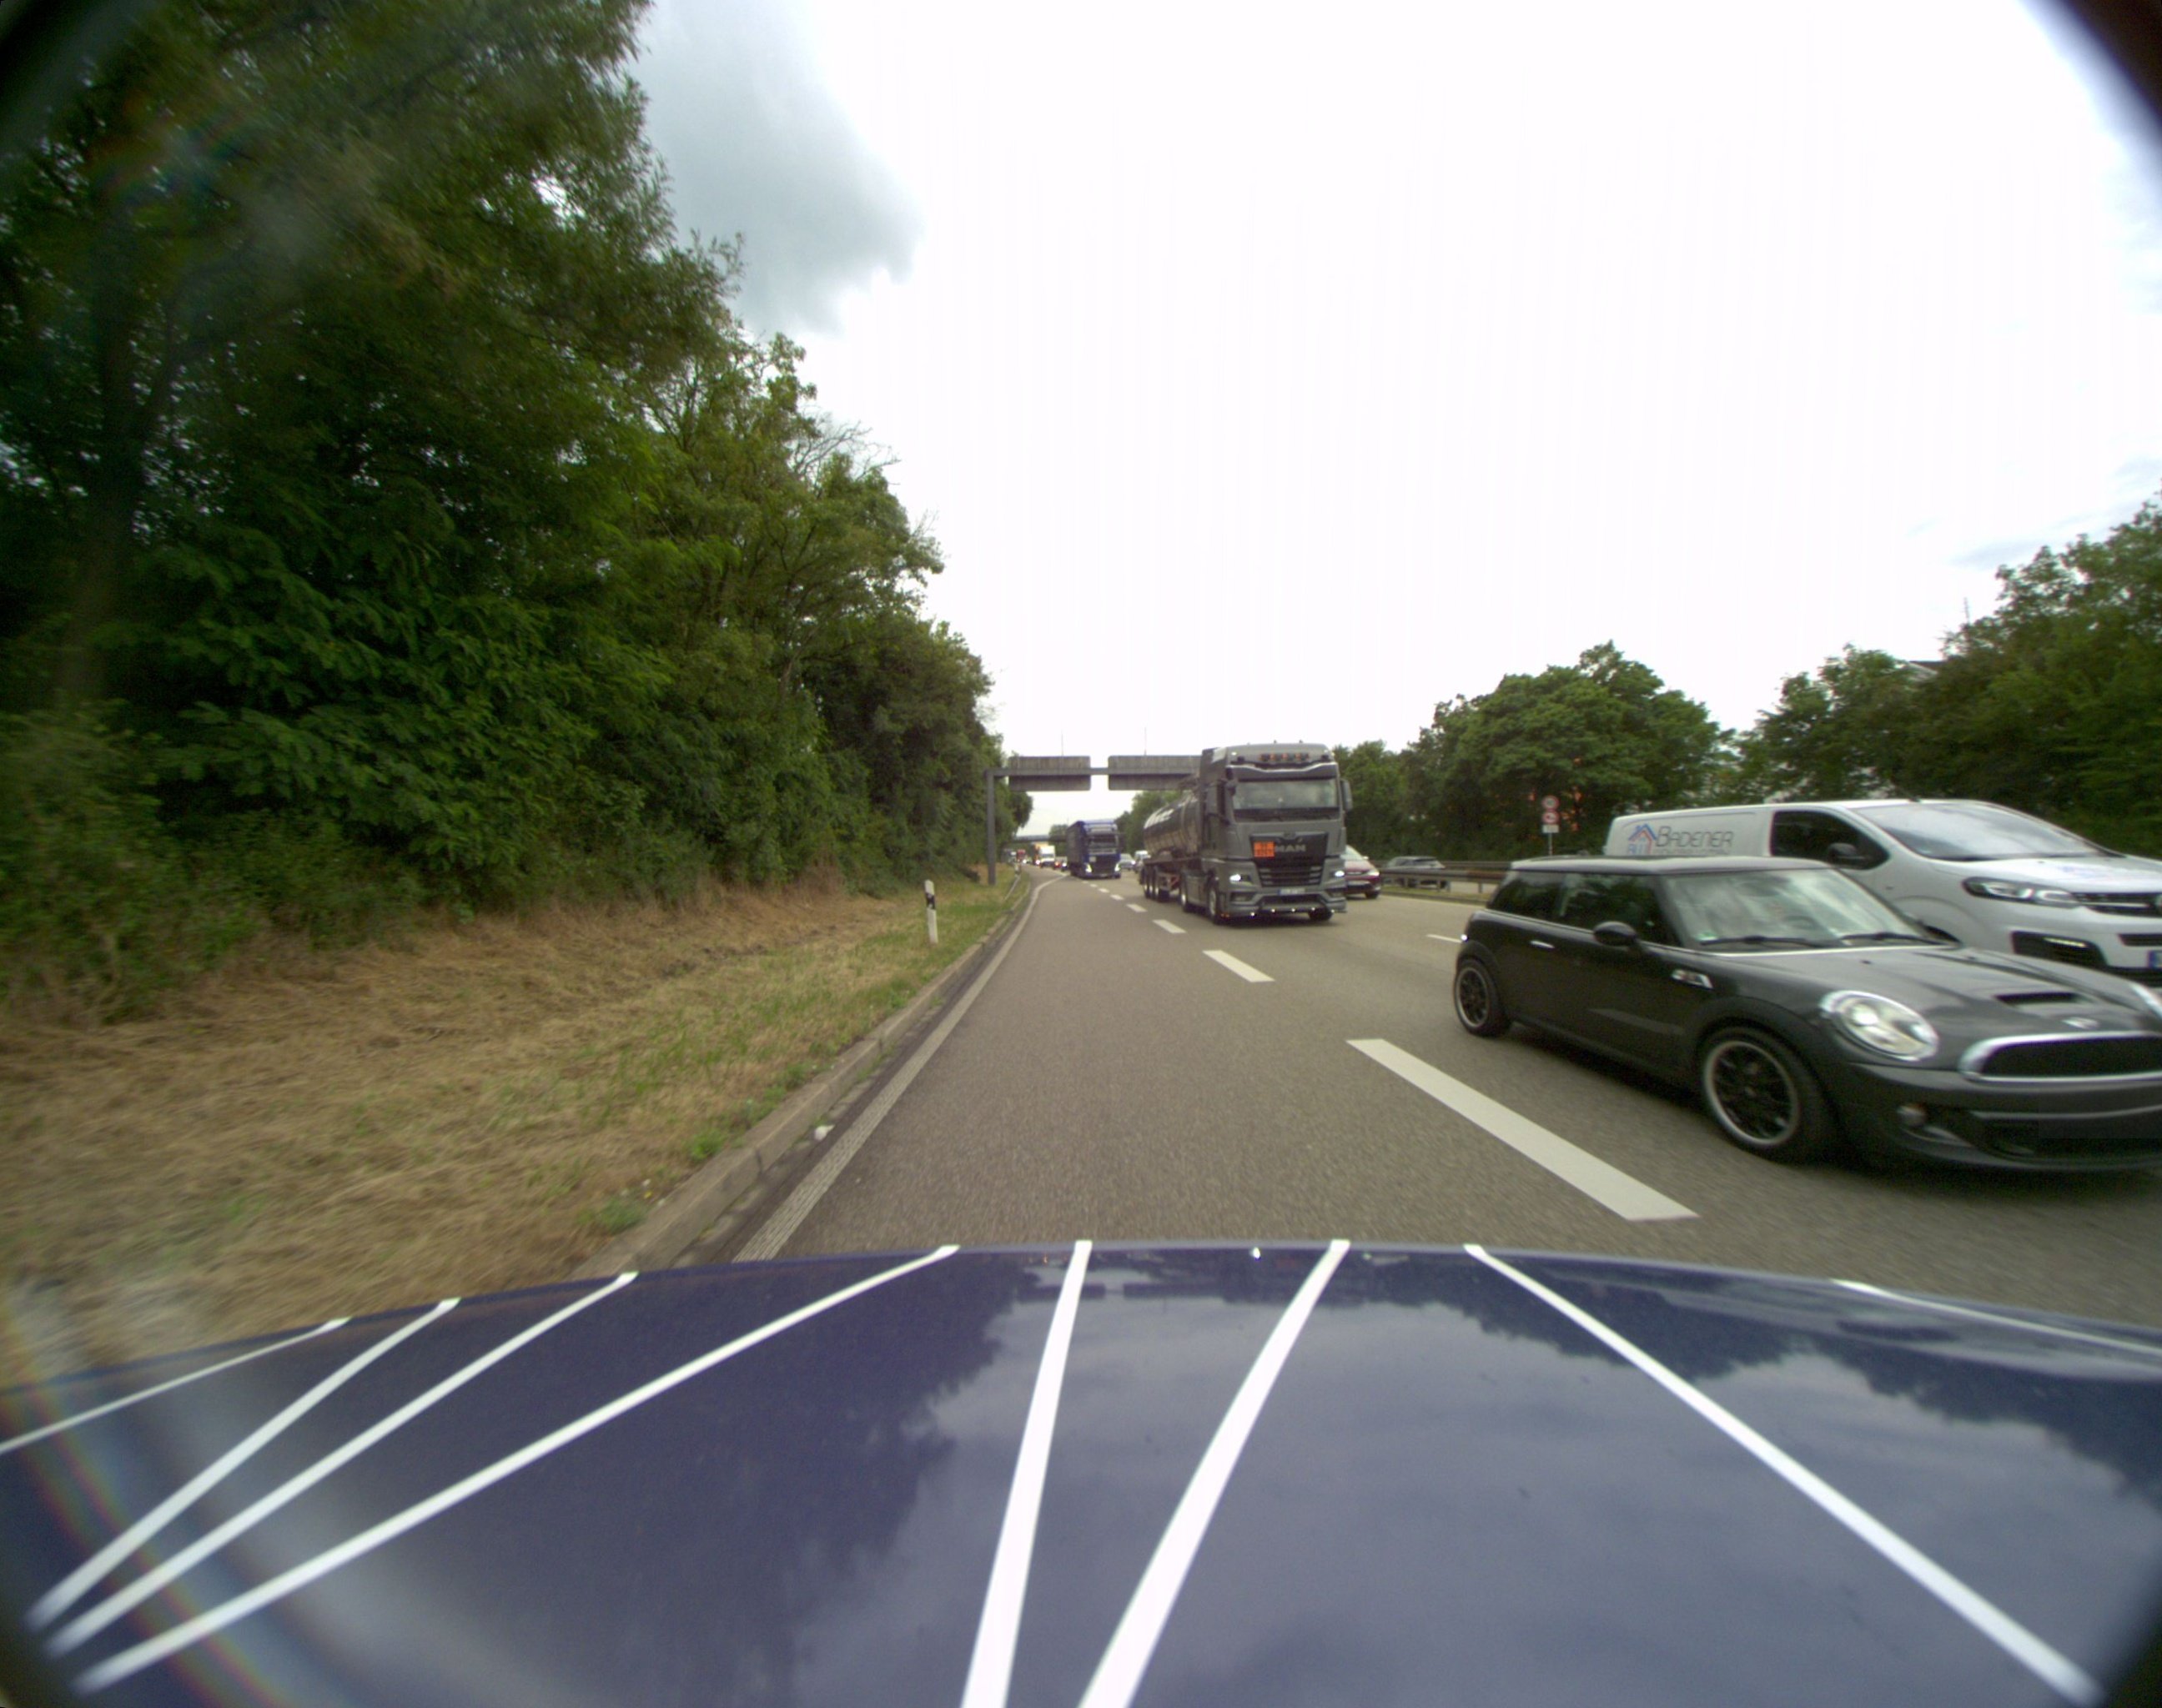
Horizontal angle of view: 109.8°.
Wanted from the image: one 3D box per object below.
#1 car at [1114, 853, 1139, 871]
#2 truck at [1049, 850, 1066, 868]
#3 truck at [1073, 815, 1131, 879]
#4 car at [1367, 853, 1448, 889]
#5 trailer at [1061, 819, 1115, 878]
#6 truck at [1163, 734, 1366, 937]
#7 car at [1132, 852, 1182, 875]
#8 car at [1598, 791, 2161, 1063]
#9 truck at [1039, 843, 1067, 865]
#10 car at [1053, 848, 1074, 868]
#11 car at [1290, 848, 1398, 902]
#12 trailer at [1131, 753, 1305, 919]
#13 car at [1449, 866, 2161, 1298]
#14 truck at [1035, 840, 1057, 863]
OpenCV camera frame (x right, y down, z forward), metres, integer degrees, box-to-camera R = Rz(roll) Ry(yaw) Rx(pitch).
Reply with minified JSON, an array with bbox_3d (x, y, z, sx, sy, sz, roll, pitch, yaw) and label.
[{"bbox_3d":[4.316,0.724,72.657,1.849,1.641,3.999,-1,0,-3],"label":"car"},{"bbox_3d":[-2.926,0.584,92.487,1.894,2.002,6.089,-1,0,-3],"label":"truck"},{"bbox_3d":[1.309,-0.434,51.949,2.962,3.946,7.467,-2,0,-5],"label":"truck"},{"bbox_3d":[14.519,0.716,34.010,1.677,1.456,3.998,-1,0,-4],"label":"car"},{"bbox_3d":[0.307,-0.440,59.577,2.846,4.013,13.079,-3,1,-5],"label":"trailer"},{"bbox_3d":[3.941,-0.366,18.141,2.690,3.884,6.933,-1,0,-4],"label":"truck"},{"bbox_3d":[5.235,0.622,52.878,2.065,1.455,5.253,-1,0,-10],"label":"car"},{"bbox_3d":[7.888,0.488,7.731,1.856,1.880,4.876,-1,0,-1],"label":"car"},{"bbox_3d":[-4.208,-0.020,112.101,3.367,3.099,7.234,-3,1,-7],"label":"truck"},{"bbox_3d":[-1.829,0.410,78.100,1.752,2.002,3.997,-1,0,-7],"label":"car"},{"bbox_3d":[8.040,0.584,23.707,1.680,1.489,4.467,-1,0,-2],"label":"car"},{"bbox_3d":[3.616,-0.440,23.467,2.690,3.884,10.983,-1,0,-4],"label":"trailer"},{"bbox_3d":[3.984,0.835,4.523,1.752,1.413,3.663,-2,0,-1],"label":"car"},{"bbox_3d":[-6.599,-0.536,141.615,3.367,4.041,10.177,-3,1,-7],"label":"truck"}]
